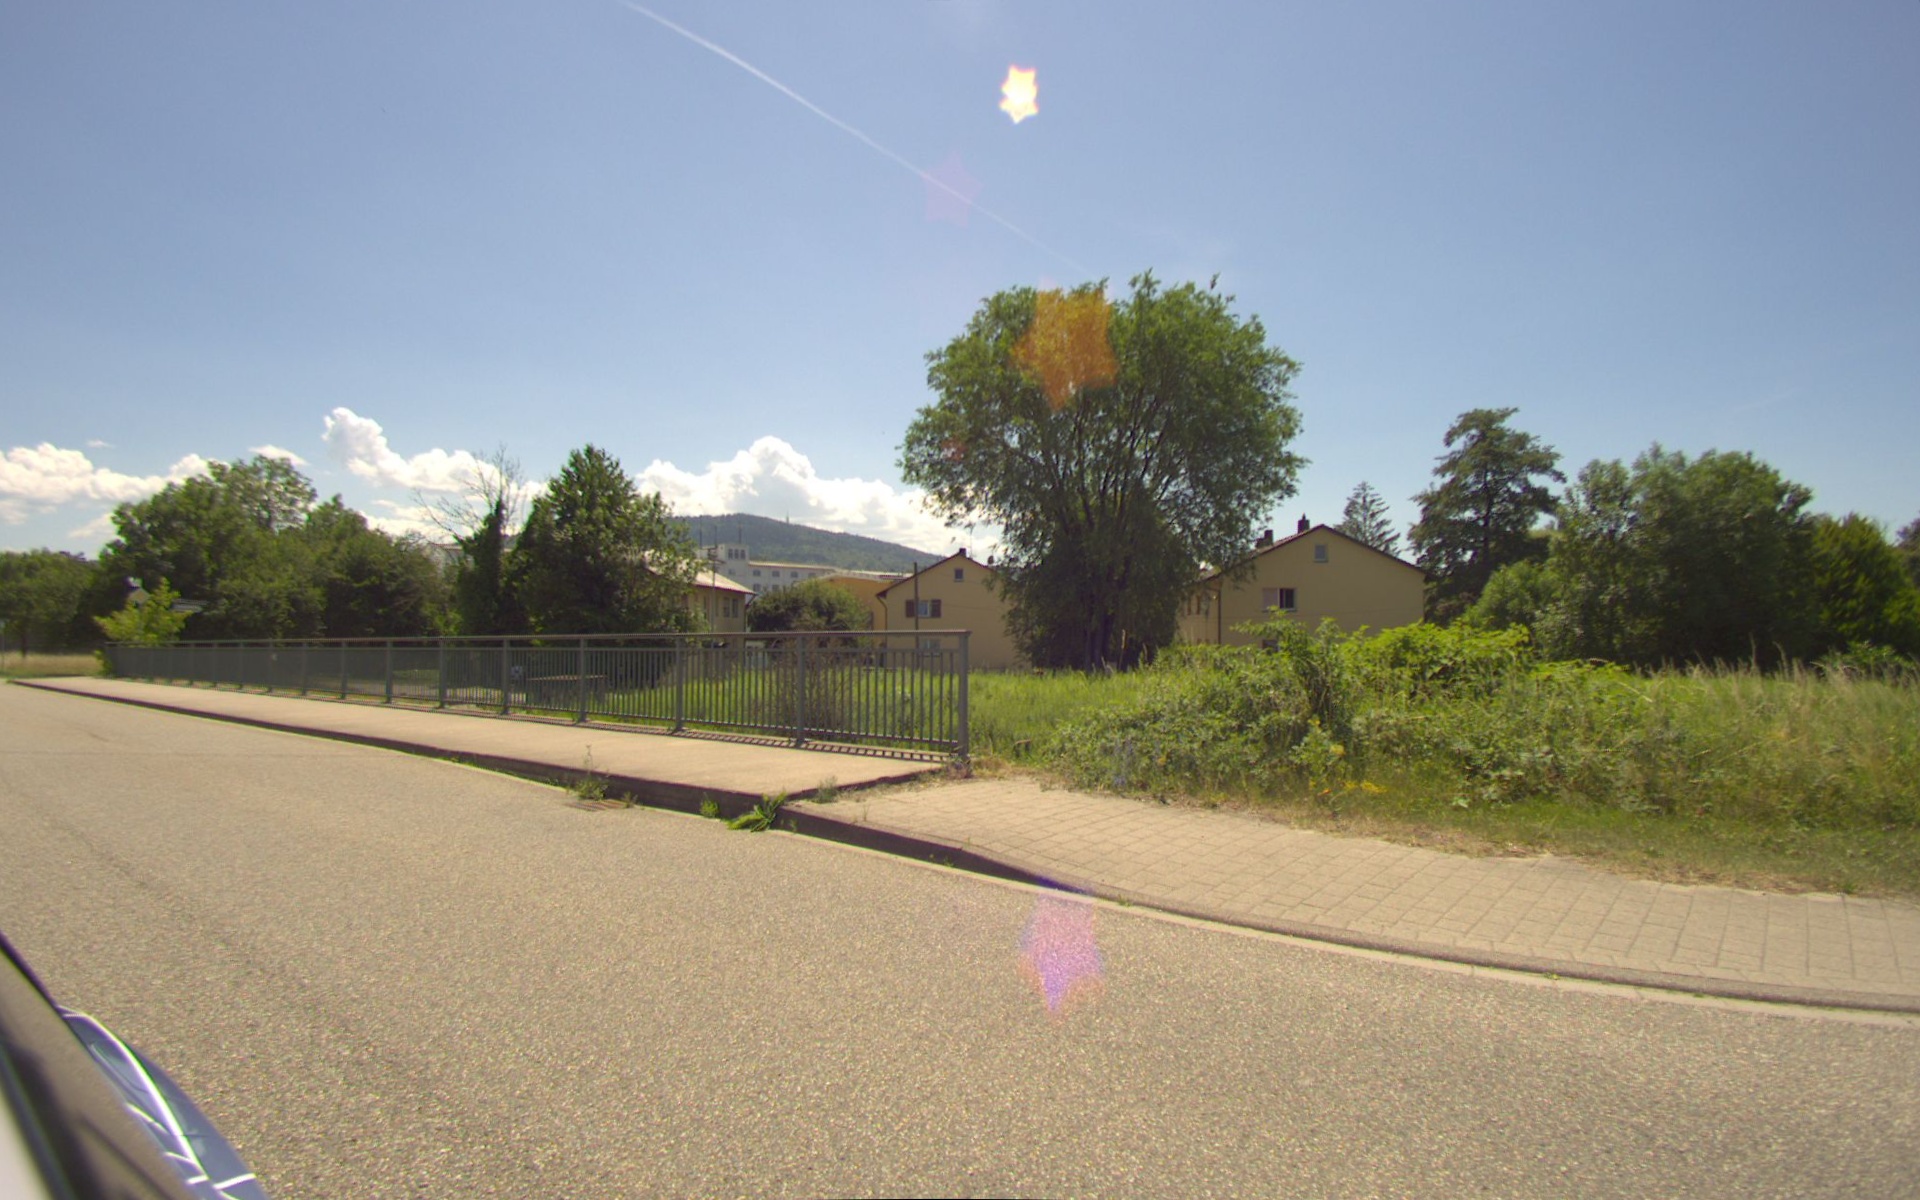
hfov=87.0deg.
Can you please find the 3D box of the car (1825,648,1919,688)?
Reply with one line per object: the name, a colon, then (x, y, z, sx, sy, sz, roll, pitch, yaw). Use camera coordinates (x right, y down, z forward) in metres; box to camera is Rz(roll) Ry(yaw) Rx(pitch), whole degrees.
car: (38.150, 2.760, 41.266, 3.942, 1.608, 2.001, 0, -4, -2)
